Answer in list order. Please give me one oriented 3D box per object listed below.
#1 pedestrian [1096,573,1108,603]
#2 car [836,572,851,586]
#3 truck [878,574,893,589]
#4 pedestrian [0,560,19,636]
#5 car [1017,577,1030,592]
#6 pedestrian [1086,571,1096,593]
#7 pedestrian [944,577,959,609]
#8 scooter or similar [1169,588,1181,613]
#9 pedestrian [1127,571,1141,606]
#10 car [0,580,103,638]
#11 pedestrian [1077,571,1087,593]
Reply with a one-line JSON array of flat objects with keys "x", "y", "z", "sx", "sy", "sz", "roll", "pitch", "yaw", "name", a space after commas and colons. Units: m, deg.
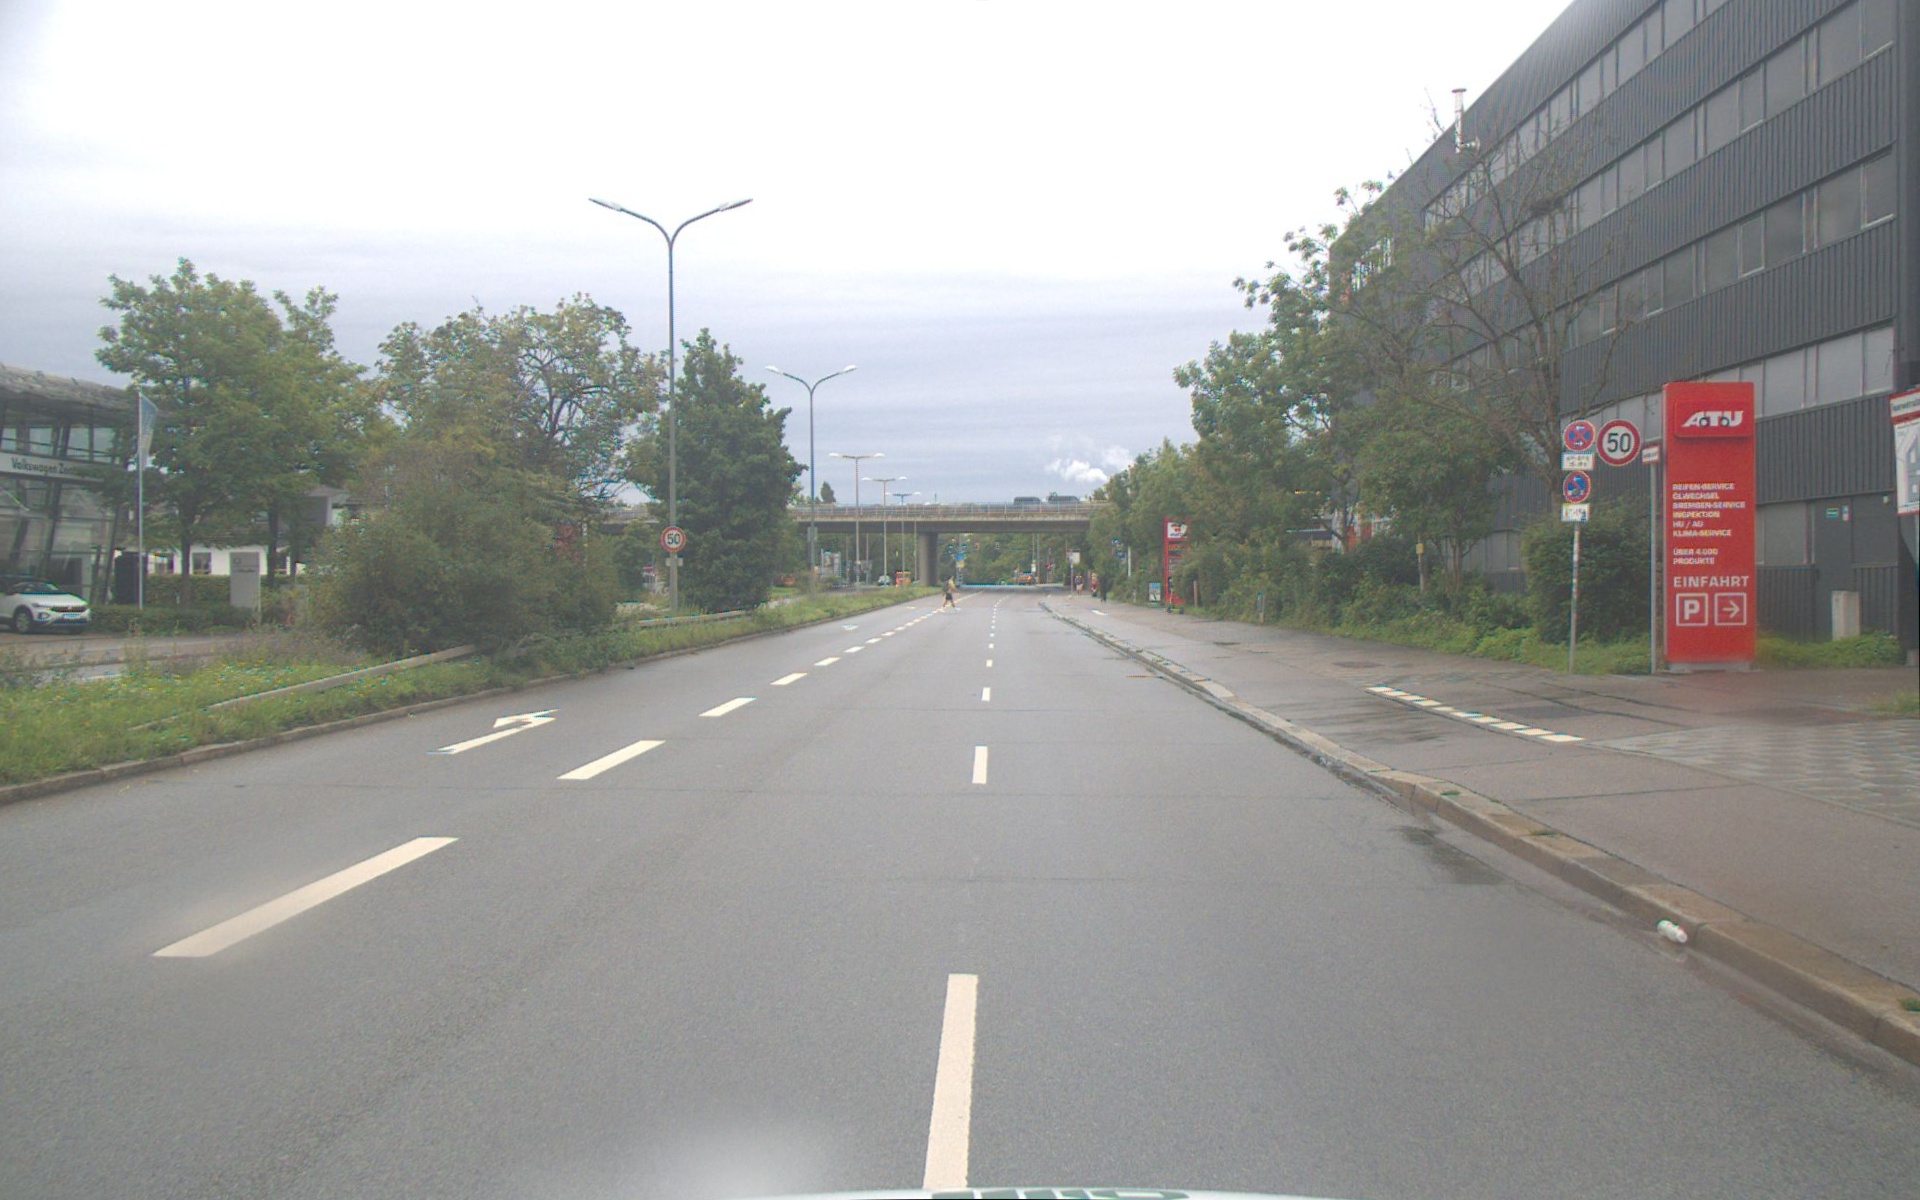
[{"x": 9.004, "y": -0.775, "z": 104.792, "sx": 0.674, "sy": 1.909, "sz": 0.662, "roll": -2, "pitch": 0, "yaw": 1, "name": "pedestrian"}, {"x": -17.874, "y": -3.223, "z": 253.859, "sx": 1.953, "sy": 2.048, "sz": 3.999, "roll": -2, "pitch": 1, "yaw": -1, "name": "car"}, {"x": -10.591, "y": -2.590, "z": 235.501, "sx": 1.953, "sy": 2.048, "sz": 4.356, "roll": -2, "pitch": 1, "yaw": -1, "name": "truck"}, {"x": -26.183, "y": -0.040, "z": 44.913, "sx": 0.699, "sy": 2.049, "sz": 0.880, "roll": -2, "pitch": 0, "yaw": 1, "name": "pedestrian"}, {"x": 8.833, "y": -2.200, "z": 229.633, "sx": 1.774, "sy": 2.049, "sz": 3.835, "roll": 1, "pitch": 1, "yaw": 3, "name": "car"}, {"x": 10.059, "y": -1.383, "z": 127.288, "sx": 0.674, "sy": 1.645, "sz": 0.662, "roll": -2, "pitch": 0, "yaw": 1, "name": "pedestrian"}, {"x": -0.449, "y": -0.361, "z": 84.177, "sx": 0.646, "sy": 1.645, "sz": 0.691, "roll": -2, "pitch": 0, "yaw": 6, "name": "pedestrian"}, {"x": 8.948, "y": 0.028, "z": 68.924, "sx": 0.298, "sy": 1.021, "sz": 1.220, "roll": -2, "pitch": 1, "yaw": -1, "name": "scooter or similar"}, {"x": 9.680, "y": -0.626, "z": 92.187, "sx": 0.674, "sy": 1.909, "sz": 0.662, "roll": -2, "pitch": 0, "yaw": 1, "name": "pedestrian"}, {"x": -26.410, "y": 0.271, "z": 46.697, "sx": 3.906, "sy": 1.535, "sz": 1.801, "roll": -2, "pitch": 1, "yaw": 22, "name": "car"}, {"x": 9.184, "y": -1.373, "z": 124.140, "sx": 0.674, "sy": 1.645, "sz": 0.662, "roll": -2, "pitch": 0, "yaw": 1, "name": "pedestrian"}]
